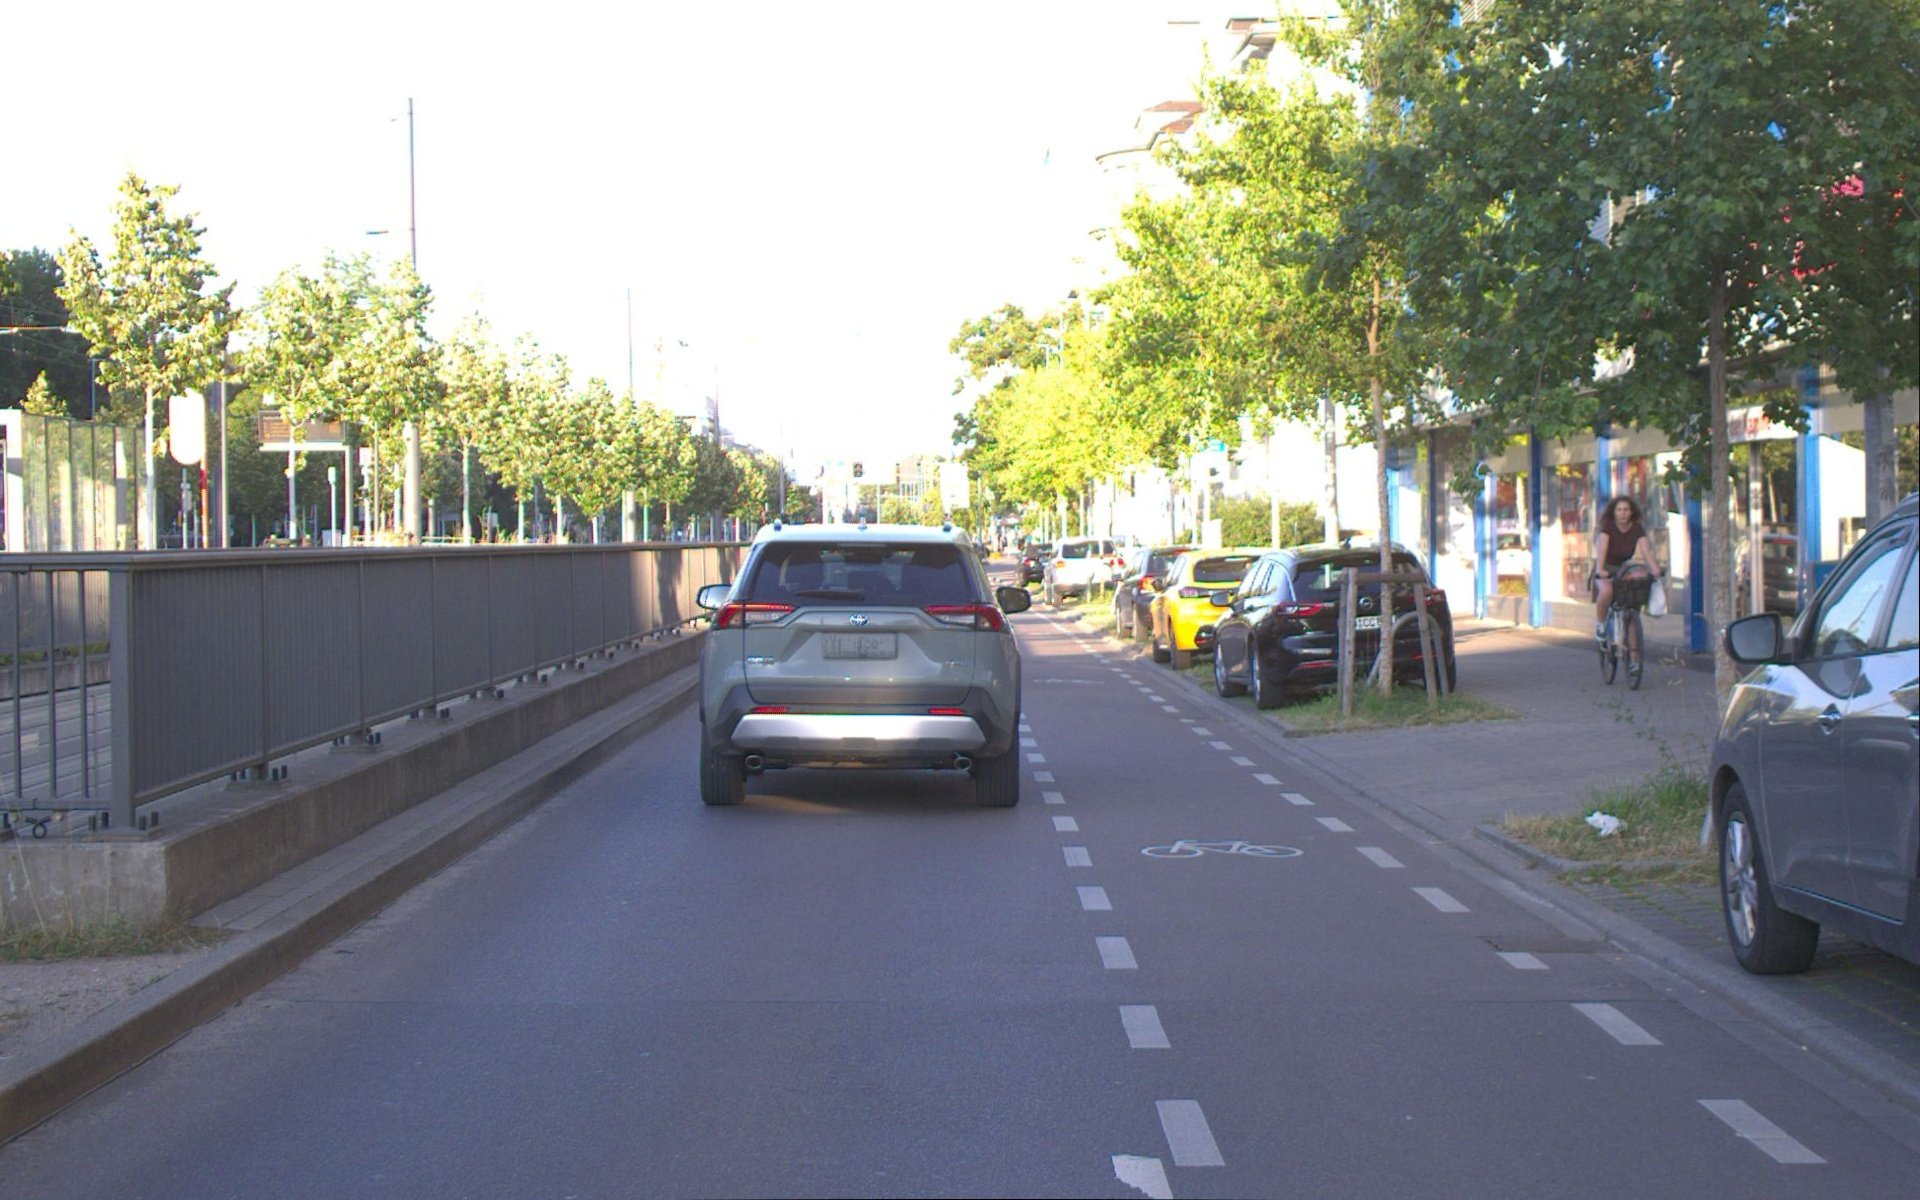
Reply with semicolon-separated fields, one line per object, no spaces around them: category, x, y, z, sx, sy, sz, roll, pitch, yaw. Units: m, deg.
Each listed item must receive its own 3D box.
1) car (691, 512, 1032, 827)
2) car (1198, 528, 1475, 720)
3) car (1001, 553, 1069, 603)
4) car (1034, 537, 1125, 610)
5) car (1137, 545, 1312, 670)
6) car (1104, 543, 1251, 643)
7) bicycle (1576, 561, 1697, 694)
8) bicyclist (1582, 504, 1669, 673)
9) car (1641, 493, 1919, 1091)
car;-0.632;0.367;21.195;1.857;1.708;4.193;1;1;-2
car;3.488;0.180;32.698;1.819;1.561;4.811;-4;1;-2
car;2.419;-0.731;111.959;1.792;1.466;4.446;-3;1;-3
car;2.835;-0.656;82.553;1.854;1.701;4.254;-1;1;-2
car;3.267;0.069;43.148;1.683;1.449;4.130;-2;1;-2
car;3.320;-0.126;53.140;1.819;1.449;4.129;-2;1;-2
bicycle;6.047;0.231;30.825;0.554;1.125;1.974;-4;1;-2
bicyclist;5.964;-0.102;30.833;0.558;1.470;0.623;-4;0;-2
car;3.478;0.468;10.593;1.757;1.648;4.529;-3;1;0
